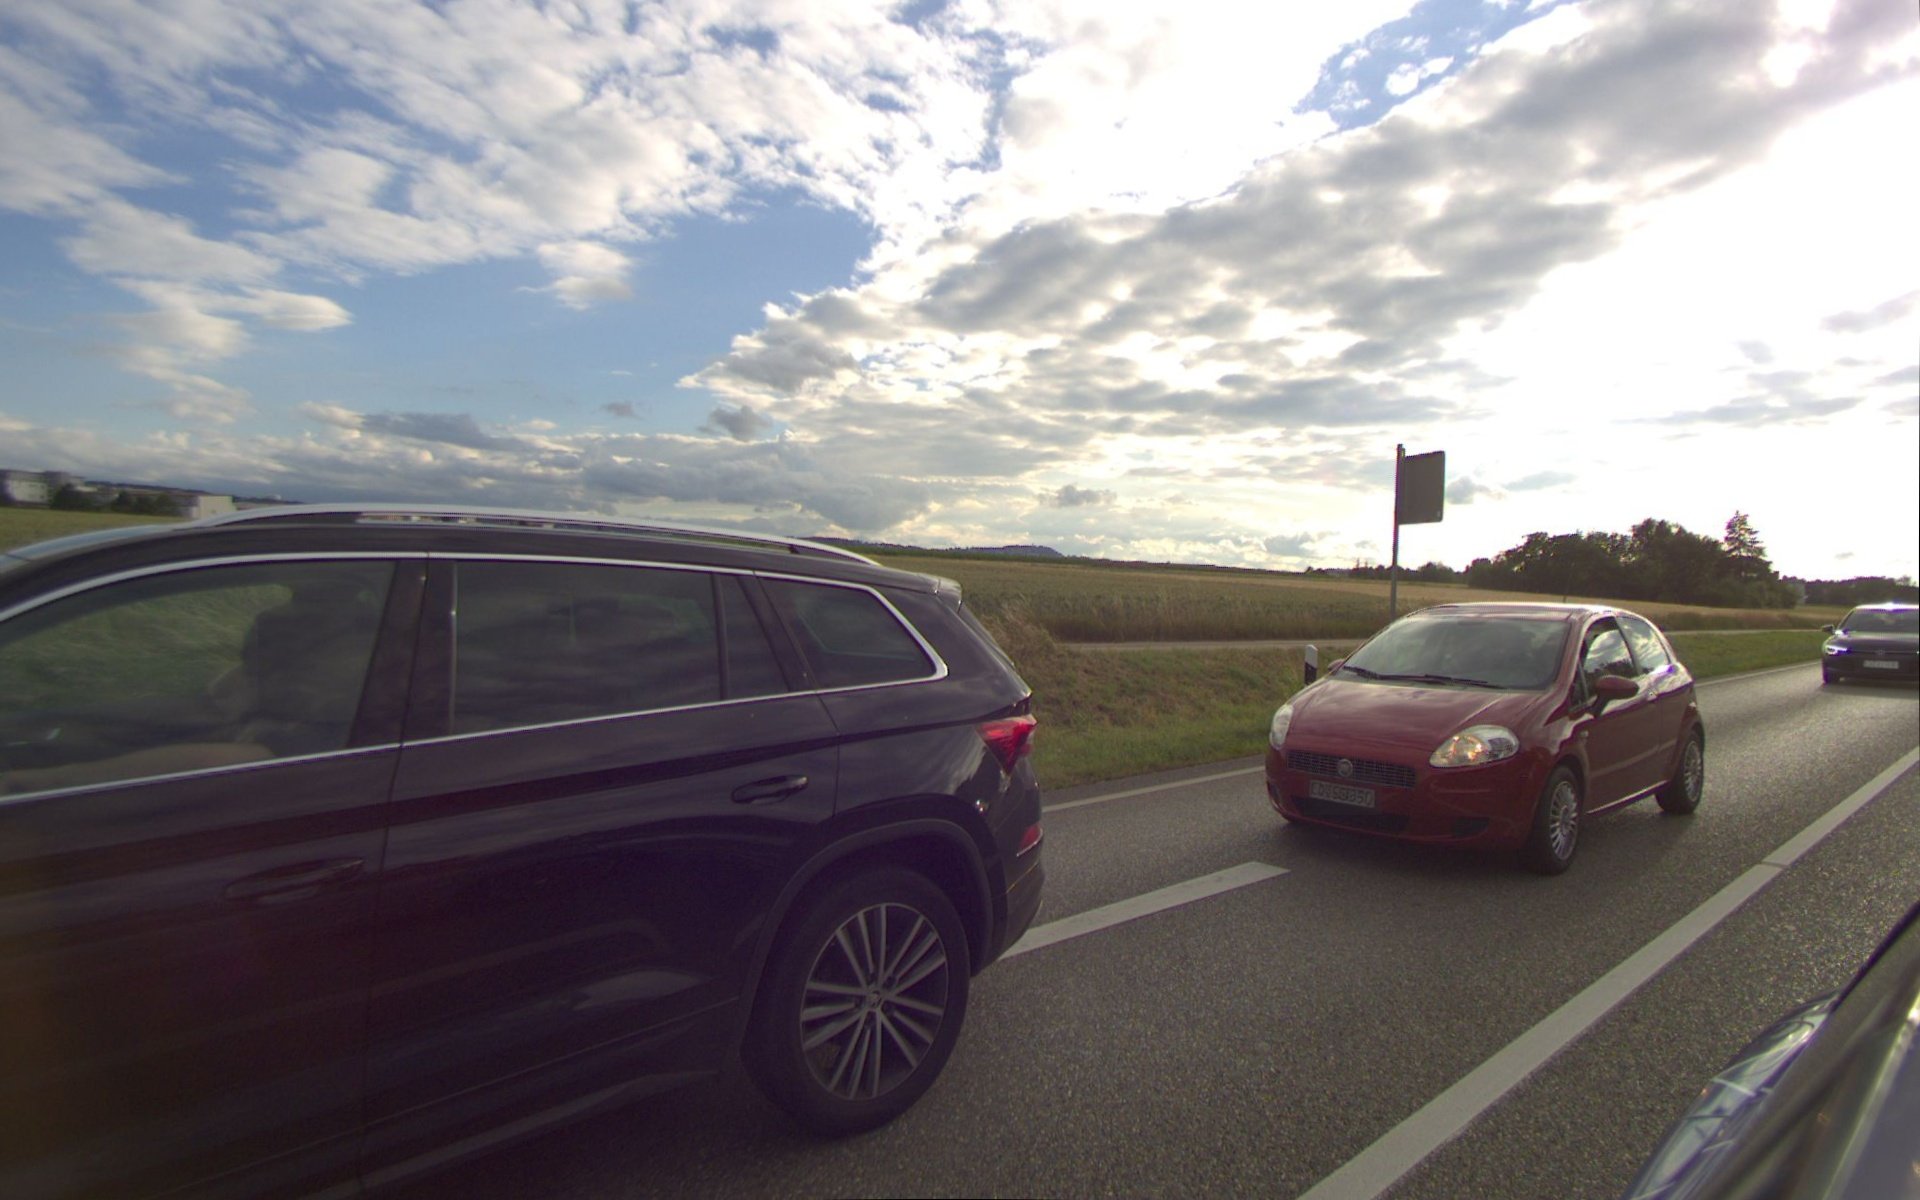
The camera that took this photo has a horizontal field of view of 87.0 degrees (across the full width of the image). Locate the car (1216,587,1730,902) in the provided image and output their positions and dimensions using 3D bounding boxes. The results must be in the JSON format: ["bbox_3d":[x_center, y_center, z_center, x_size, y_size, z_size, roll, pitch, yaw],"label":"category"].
[{"bbox_3d":[3.550,0.668,6.703,3.840,1.475,1.710,-1,0,-41],"label":"car"}]

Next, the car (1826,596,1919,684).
[{"bbox_3d":[17.631,0.682,18.773,3.962,1.475,1.797,0,0,-41],"label":"car"}]

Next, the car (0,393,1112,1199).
[{"bbox_3d":[-1.791,0.534,2.555,4.477,1.730,1.839,-1,0,-41],"label":"car"}]
